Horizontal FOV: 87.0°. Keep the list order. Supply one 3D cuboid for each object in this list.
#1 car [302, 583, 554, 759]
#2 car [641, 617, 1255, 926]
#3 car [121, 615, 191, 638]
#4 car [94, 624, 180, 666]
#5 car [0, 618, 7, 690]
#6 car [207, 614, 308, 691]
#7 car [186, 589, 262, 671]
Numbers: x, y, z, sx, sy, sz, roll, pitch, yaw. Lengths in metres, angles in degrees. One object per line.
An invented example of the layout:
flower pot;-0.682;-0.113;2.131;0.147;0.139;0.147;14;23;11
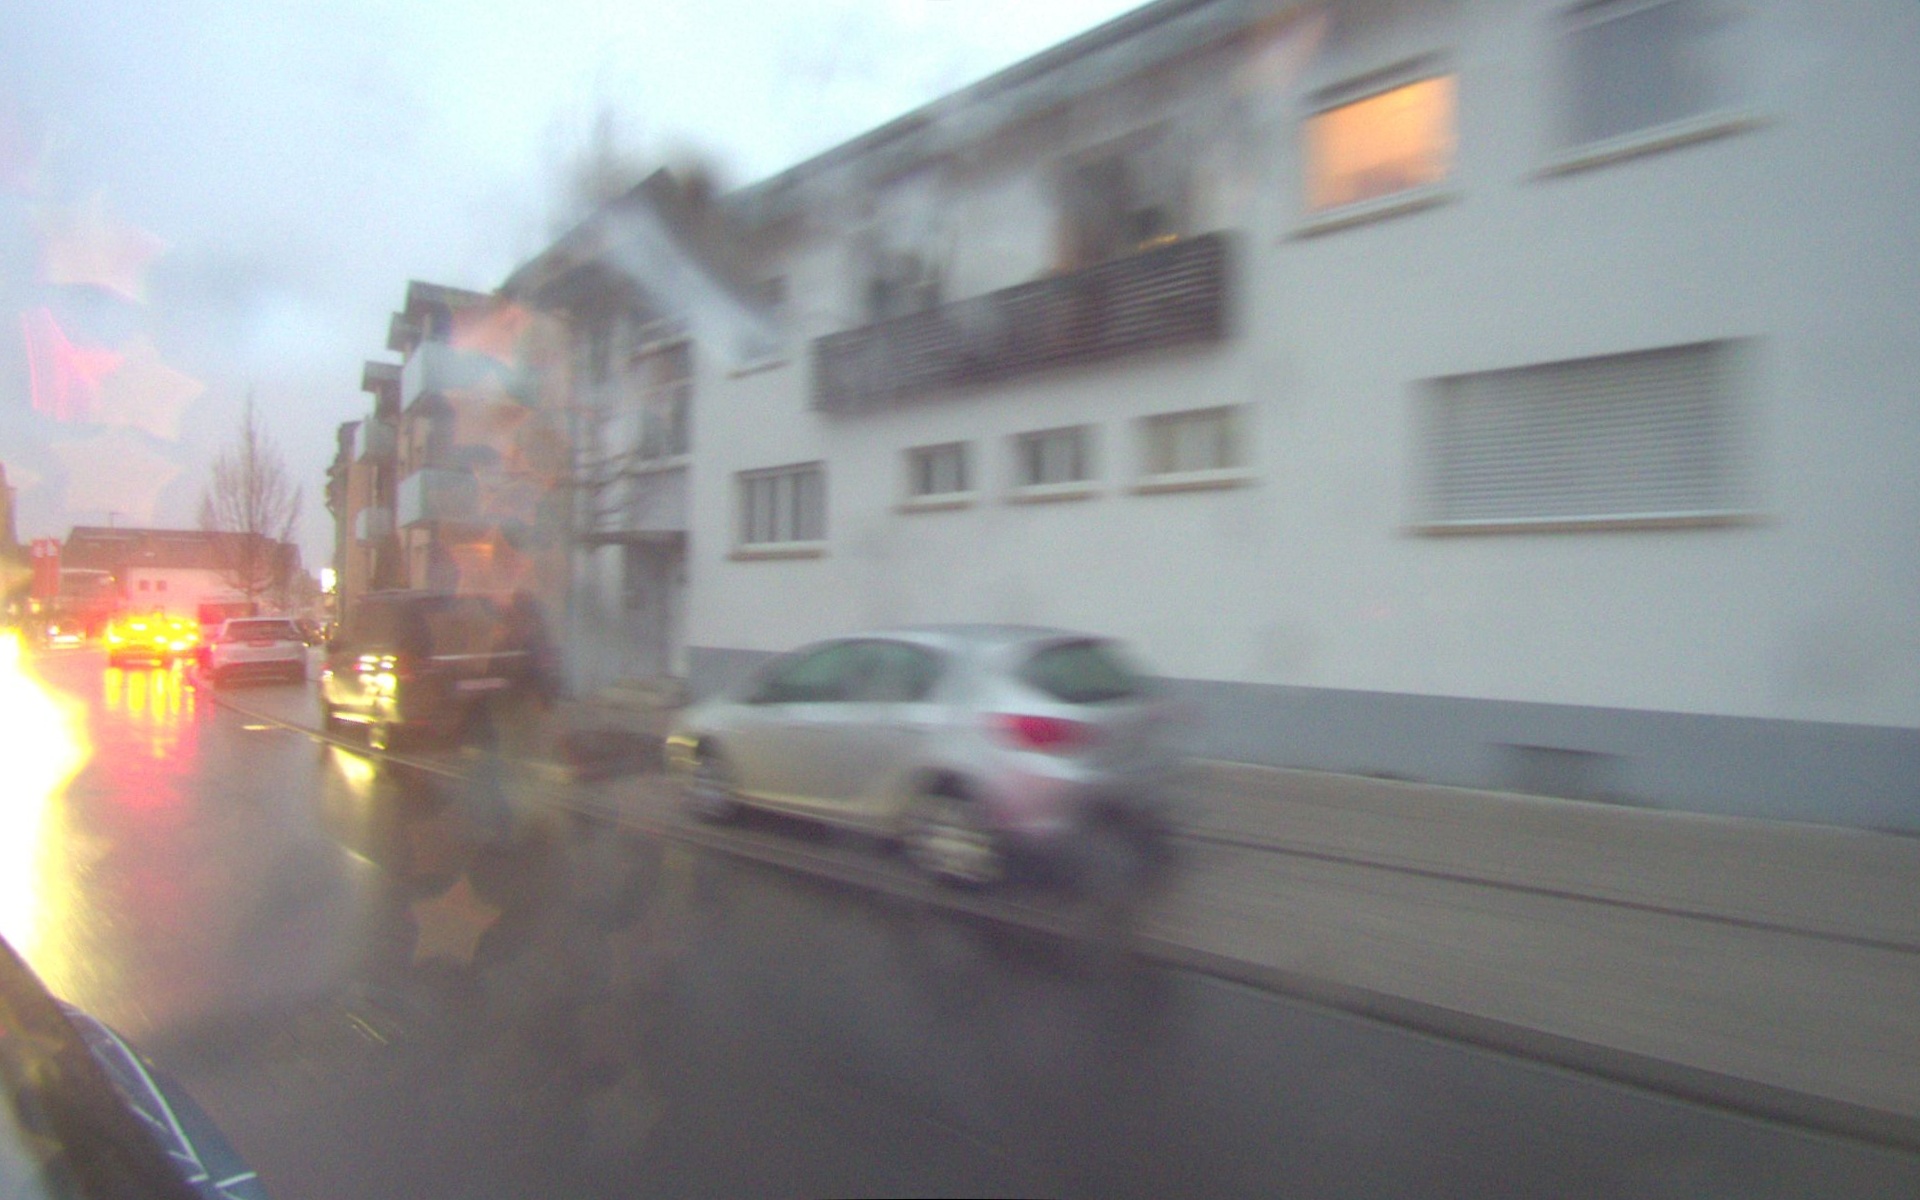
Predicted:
car;-7.251;0.839;13.508;1.857;1.914;4.840;-1;-1;-41
car;-0.368;0.886;7.153;1.774;1.467;4.397;-1;0;-45
car;-64.533;2.166;81.324;3.931;1.660;1.867;3;-4;-19
car;-30.834;1.647;38.036;1.966;1.511;4.011;1;-2;-32
car;-22.483;1.226;22.305;1.850;1.644;4.007;1;-2;-39
car;-17.777;1.260;25.552;1.909;1.682;4.351;-2;0;-36
car;-25.995;1.027;35.850;2.014;2.679;4.220;-2;0;-35
